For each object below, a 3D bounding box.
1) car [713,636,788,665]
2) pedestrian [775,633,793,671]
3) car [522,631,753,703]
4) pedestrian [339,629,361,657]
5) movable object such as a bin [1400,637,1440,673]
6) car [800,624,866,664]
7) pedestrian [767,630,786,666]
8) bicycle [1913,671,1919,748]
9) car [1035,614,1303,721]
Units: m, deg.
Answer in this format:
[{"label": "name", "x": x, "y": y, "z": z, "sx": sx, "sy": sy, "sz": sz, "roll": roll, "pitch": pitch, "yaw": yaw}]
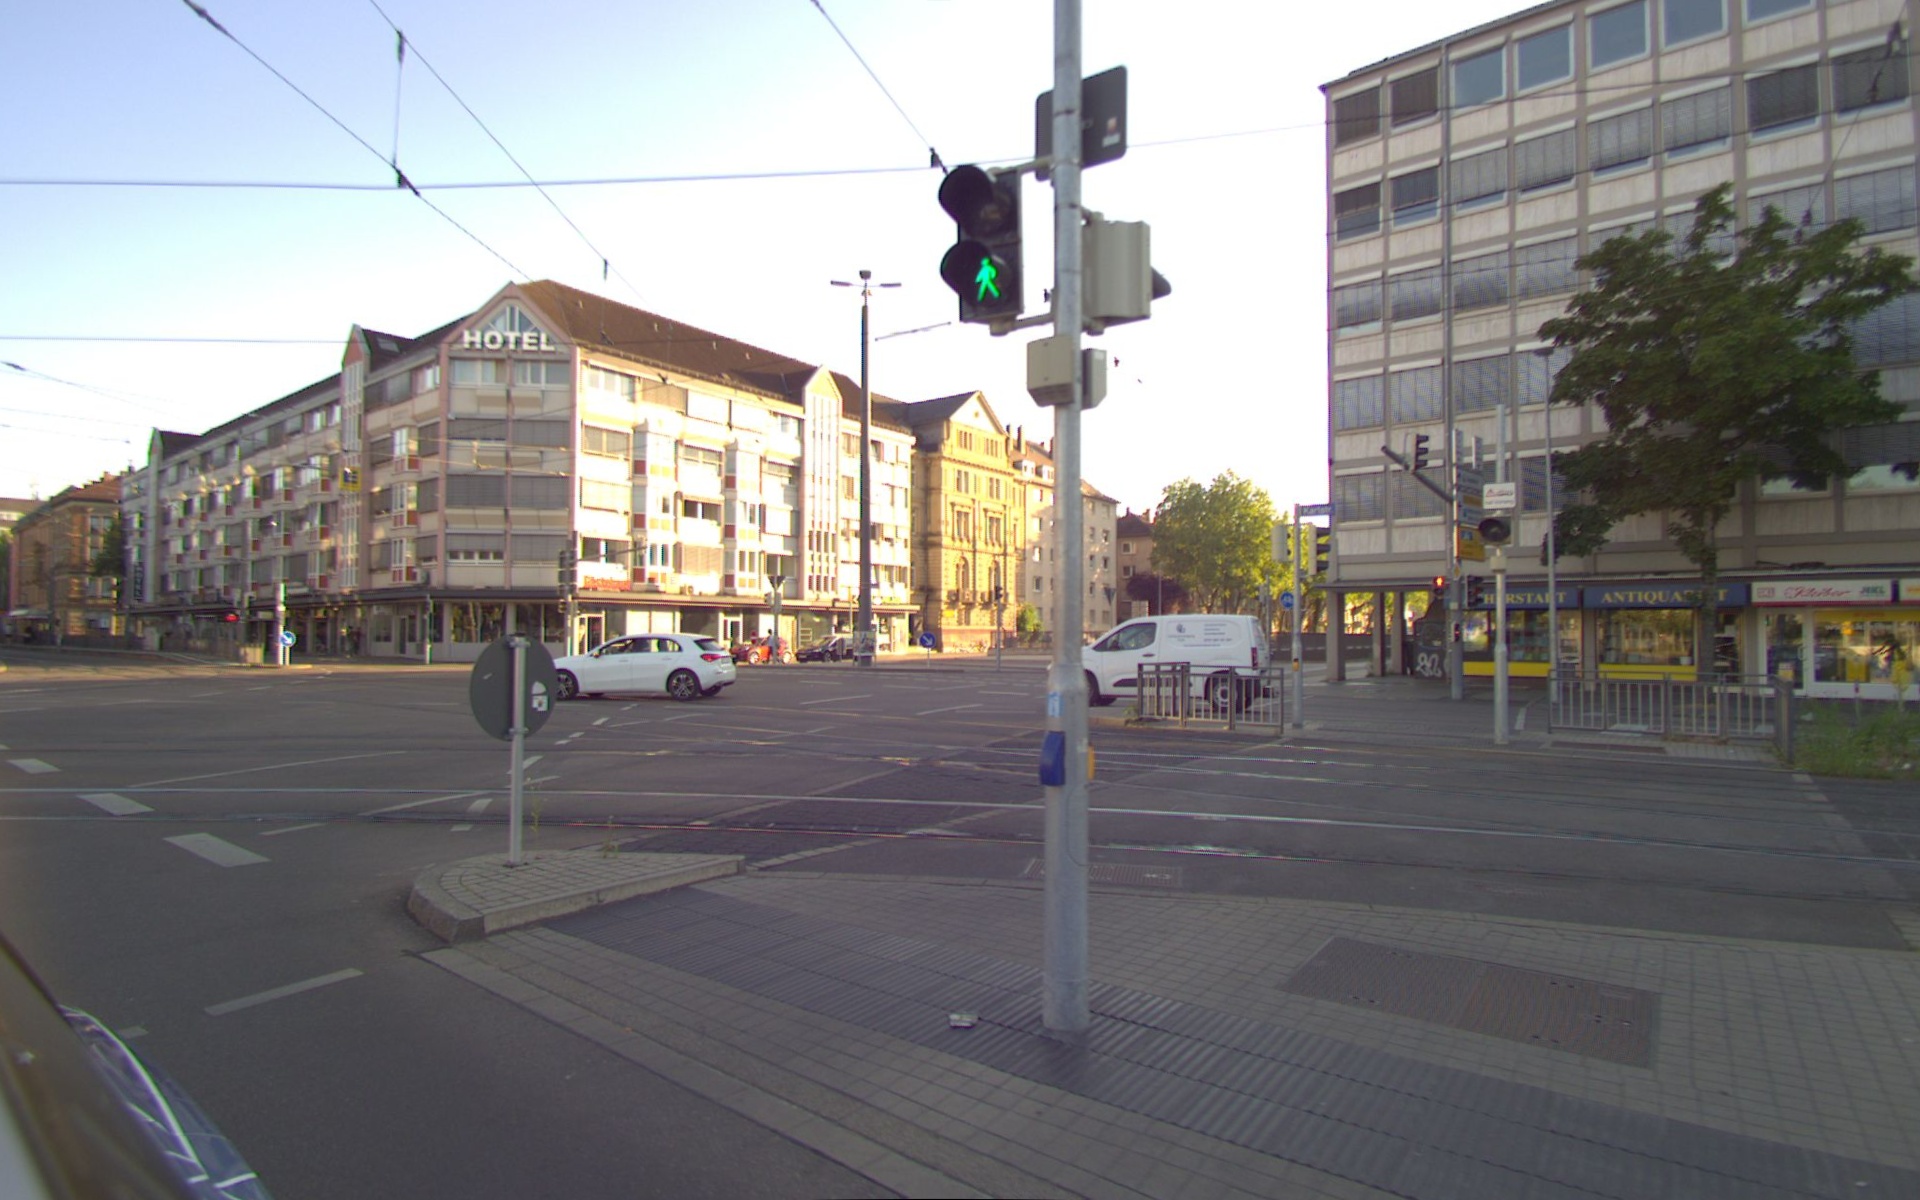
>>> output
[{"label": "car", "x": -11.008, "y": 2.652, "z": 53.461, "sx": 1.644, "sy": 1.433, "sz": 3.852, "roll": -1, "pitch": -3, "yaw": 33}, {"label": "pedestrian", "x": -7.693, "y": 2.257, "z": 44.247, "sx": 0.715, "sy": 1.661, "sz": 0.774, "roll": 1, "pitch": -2, "yaw": -15}, {"label": "car", "x": -7.042, "y": 1.449, "z": 22.338, "sx": 4.506, "sy": 1.460, "sz": 1.813, "roll": 0, "pitch": -2, "yaw": 6}, {"label": "pedestrian", "x": -35.739, "y": 2.523, "z": 59.312, "sx": 0.905, "sy": 1.560, "sz": 0.699, "roll": 3, "pitch": -2, "yaw": 37}, {"label": "movable object such as a bin", "x": 17.394, "y": 2.074, "z": 38.252, "sx": 0.960, "sy": 1.337, "sz": 1.394, "roll": -2, "pitch": -3, "yaw": 43}, {"label": "car", "x": -6.537, "y": 2.237, "z": 52.582, "sx": 2.197, "sy": 1.567, "sz": 4.603, "roll": 7, "pitch": 1, "yaw": 7}, {"label": "pedestrian", "x": -8.193, "y": 2.120, "z": 45.159, "sx": 0.693, "sy": 1.595, "sz": 0.828, "roll": 1, "pitch": -2, "yaw": -19}, {"label": "bicycle", "x": 14.479, "y": 1.536, "z": 13.776, "sx": 2.039, "sy": 1.084, "sz": 0.753, "roll": 0, "pitch": -2, "yaw": 15}, {"label": "car", "x": 4.088, "y": 1.246, "z": 19.883, "sx": 4.847, "sy": 1.852, "sz": 1.984, "roll": 0, "pitch": -3, "yaw": 25}]
